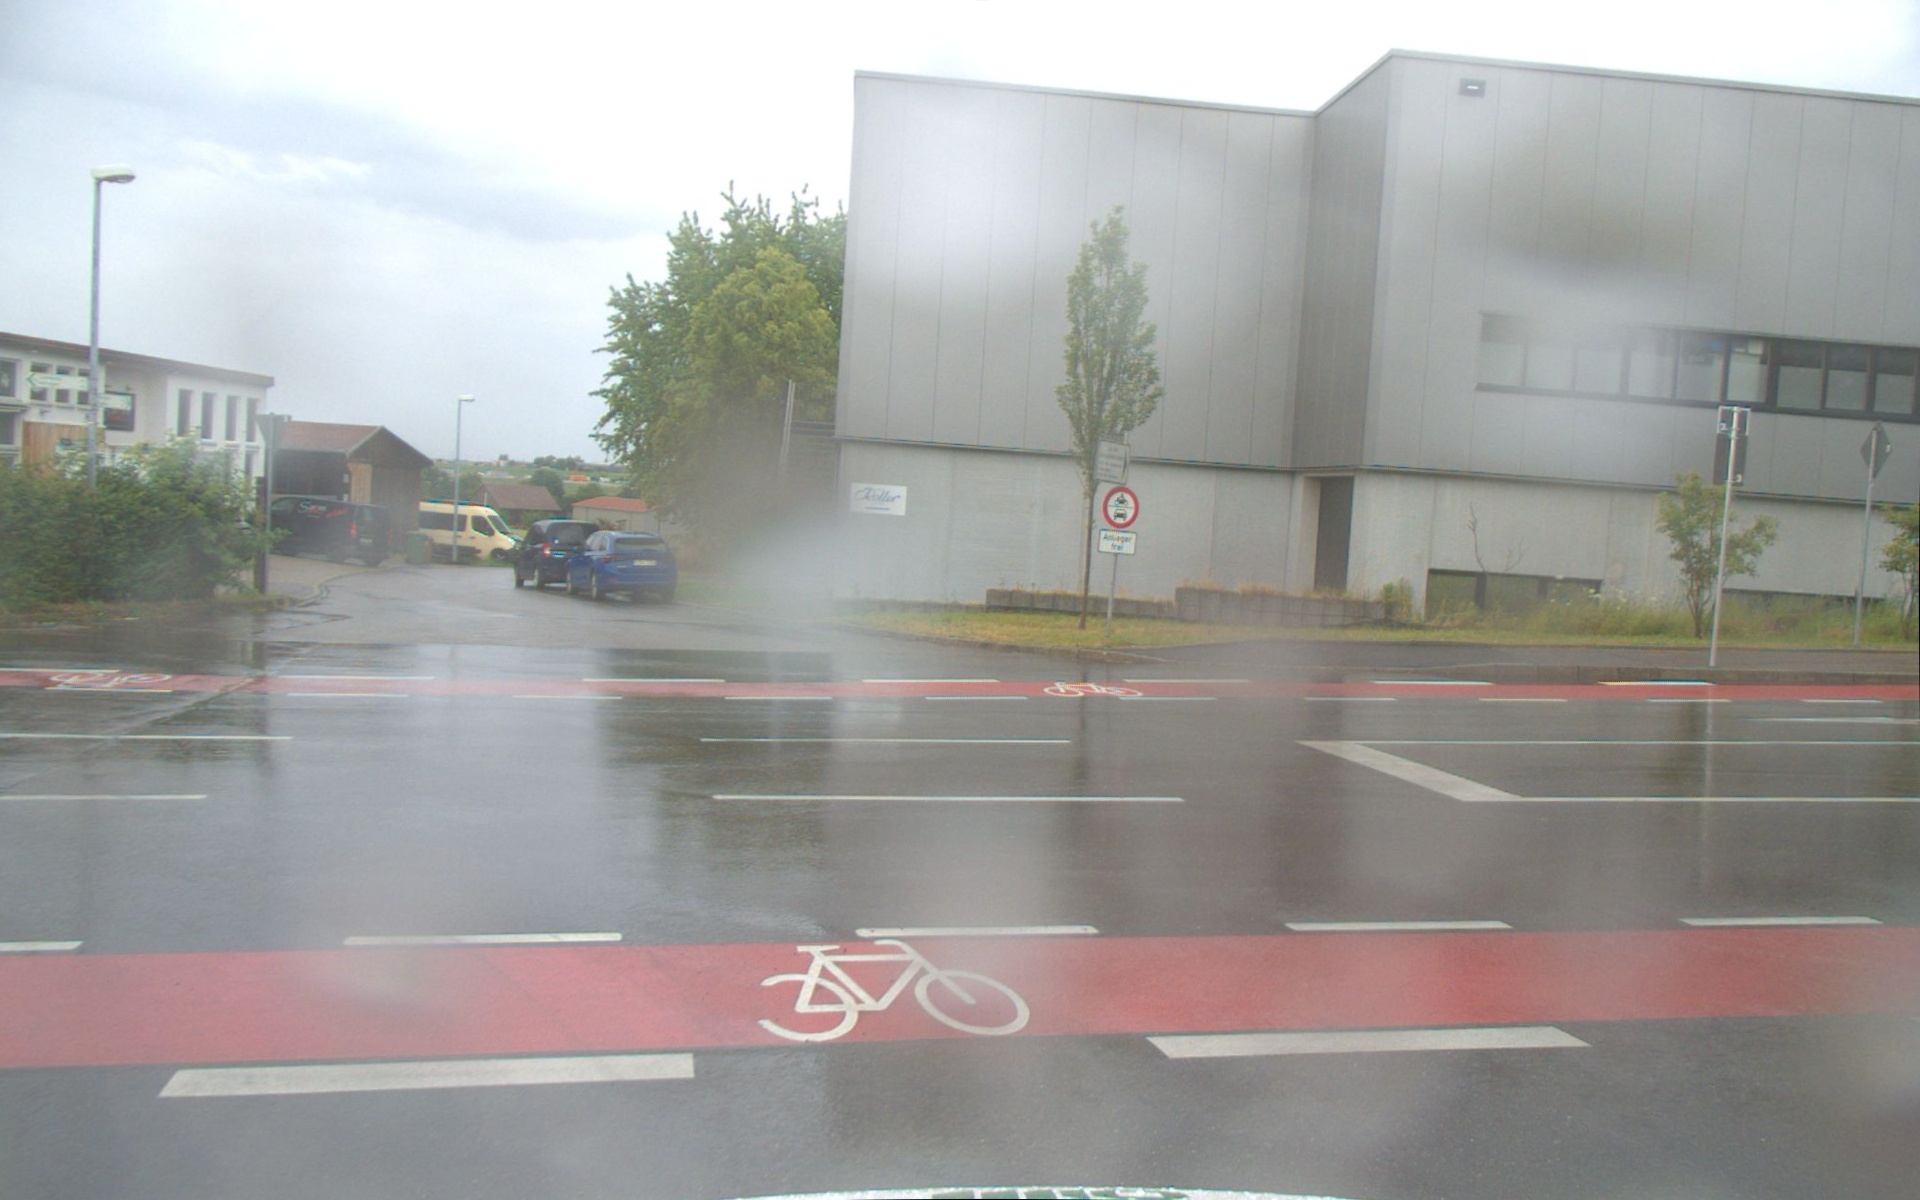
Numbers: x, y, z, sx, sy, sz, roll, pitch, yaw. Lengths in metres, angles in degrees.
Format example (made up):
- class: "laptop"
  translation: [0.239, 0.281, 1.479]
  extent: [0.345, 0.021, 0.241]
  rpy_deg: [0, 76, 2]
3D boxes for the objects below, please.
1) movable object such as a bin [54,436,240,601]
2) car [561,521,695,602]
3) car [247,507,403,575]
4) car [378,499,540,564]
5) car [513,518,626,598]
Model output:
- class: "movable object such as a bin"
  translation: [-13.882, -1.356, 28.431]
  extent: [1.699, 2.601, 3.337]
  rpy_deg: [2, 1, -5]
- class: "car"
  translation: [-7.406, -0.862, 36.572]
  extent: [1.926, 1.638, 4.413]
  rpy_deg: [1, 1, -24]
- class: "car"
  translation: [-19.560, -1.804, 50.962]
  extent: [4.307, 1.938, 1.999]
  rpy_deg: [2, 1, 24]
- class: "car"
  translation: [-20.829, -2.850, 68.951]
  extent: [5.885, 2.457, 2.464]
  rpy_deg: [2, 1, 1]
- class: "car"
  translation: [-10.017, -1.086, 42.211]
  extent: [2.046, 1.866, 4.439]
  rpy_deg: [1, 1, -23]
